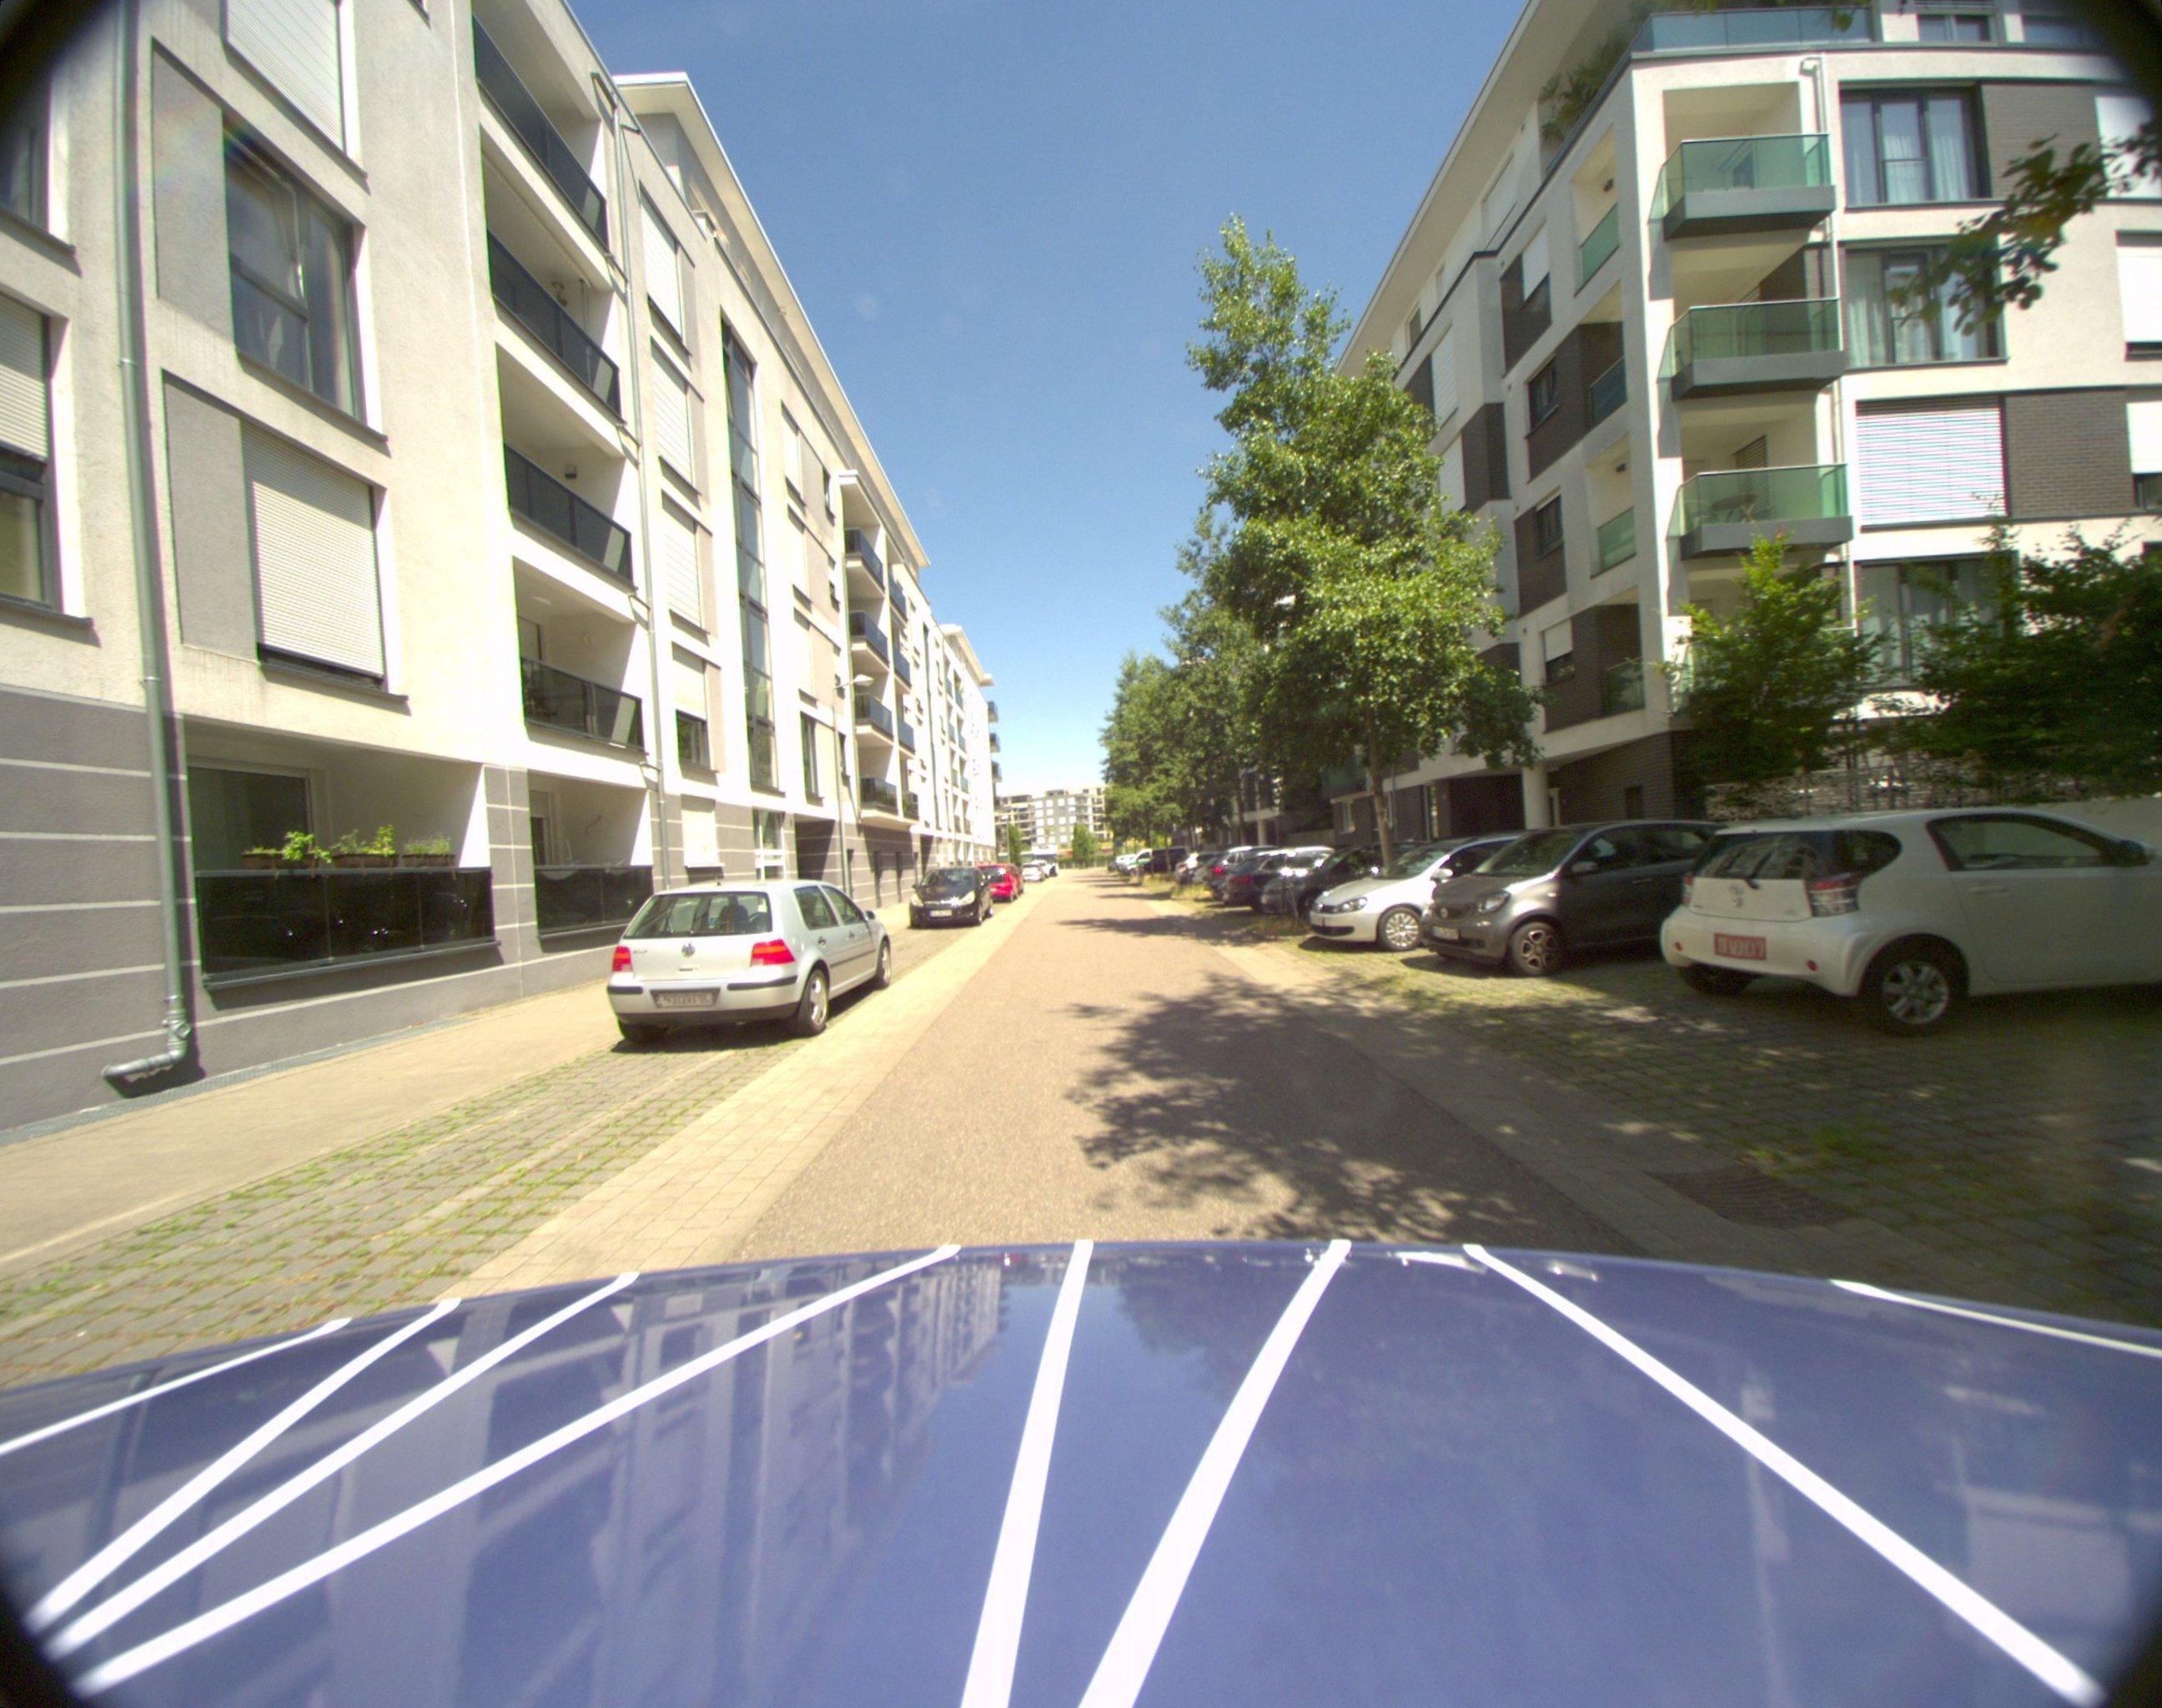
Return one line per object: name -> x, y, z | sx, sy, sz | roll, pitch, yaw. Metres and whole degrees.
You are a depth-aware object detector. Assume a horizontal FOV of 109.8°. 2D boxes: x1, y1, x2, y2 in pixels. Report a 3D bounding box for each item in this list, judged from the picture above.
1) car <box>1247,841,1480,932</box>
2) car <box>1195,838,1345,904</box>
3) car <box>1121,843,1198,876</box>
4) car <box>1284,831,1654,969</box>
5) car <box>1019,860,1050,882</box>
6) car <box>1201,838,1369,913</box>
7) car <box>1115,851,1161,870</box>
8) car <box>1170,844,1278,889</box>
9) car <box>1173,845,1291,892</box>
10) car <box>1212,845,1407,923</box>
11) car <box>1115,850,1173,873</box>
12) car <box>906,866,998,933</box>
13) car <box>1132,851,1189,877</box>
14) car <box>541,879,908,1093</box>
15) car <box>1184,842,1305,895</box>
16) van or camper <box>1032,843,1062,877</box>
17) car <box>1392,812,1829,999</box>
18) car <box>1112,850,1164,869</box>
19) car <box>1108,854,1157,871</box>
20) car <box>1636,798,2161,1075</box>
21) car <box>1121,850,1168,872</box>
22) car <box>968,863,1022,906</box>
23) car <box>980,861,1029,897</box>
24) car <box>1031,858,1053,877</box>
car -> 5.668, 0.634, 15.645 | 3.997, 1.414, 1.897 | -5, 0, 1
car -> 5.700, 0.492, 23.291 | 3.997, 1.620, 1.933 | -5, 0, 0
car -> 5.626, 0.395, 55.109 | 5.355, 2.098, 2.187 | -3, 0, 2
car -> 5.449, 0.605, 11.107 | 4.372, 1.700, 2.000 | -2, 0, -2
car -> -3.406, 1.202, 56.040 | 1.850, 1.408, 4.426 | -4, 0, 1
car -> 5.455, 0.568, 20.767 | 3.996, 1.641, 1.918 | -5, 0, 2
car -> 5.632, 0.650, 75.145 | 4.263, 1.521, 1.822 | -5, 0, -3
car -> 6.182, 0.538, 33.208 | 4.263, 1.509, 1.924 | -6, 0, 0
car -> 6.058, 0.568, 30.763 | 4.327, 1.467, 1.793 | -5, 0, 0
car -> 5.351, 0.675, 18.123 | 3.985, 1.437, 1.775 | -5, 0, -4
car -> 5.402, 0.644, 65.287 | 4.571, 1.584, 1.966 | -5, 0, -5
car -> -3.201, 1.075, 19.564 | 1.647, 1.454, 4.117 | -2, 0, -1
car -> 5.430, 0.660, 52.319 | 3.632, 1.473, 1.678 | -5, 0, -1
car -> -3.309, 1.112, 8.176 | 1.839, 1.496, 4.350 | -2, 0, 0
car -> 6.000, 0.529, 28.202 | 3.997, 1.582, 1.884 | -5, 0, 1
van or camper -> -3.110, 0.501, 71.336 | 2.445, 2.889, 7.825 | -4, 1, -1
car -> 5.847, 0.510, 8.691 | 3.719, 1.576, 1.820 | -5, 0, -5
car -> 5.805, 0.572, 77.865 | 5.042, 1.622, 2.042 | -4, 0, -2
car -> 5.572, 0.877, 82.927 | 5.112, 1.476, 1.927 | -4, 1, -2
car -> 6.351, 0.491, 5.687 | 2.940, 1.491, 1.848 | -6, 0, -1
car -> 5.677, 0.591, 67.919 | 3.990, 1.619, 1.950 | -5, 0, 2
car -> -3.245, 1.110, 29.334 | 1.599, 1.477, 3.675 | -2, 0, 0
car -> -3.456, 1.103, 34.869 | 1.742, 1.478, 4.258 | -2, 0, 0
car -> -3.311, 1.157, 65.053 | 1.812, 1.496, 4.260 | -2, 0, -2
